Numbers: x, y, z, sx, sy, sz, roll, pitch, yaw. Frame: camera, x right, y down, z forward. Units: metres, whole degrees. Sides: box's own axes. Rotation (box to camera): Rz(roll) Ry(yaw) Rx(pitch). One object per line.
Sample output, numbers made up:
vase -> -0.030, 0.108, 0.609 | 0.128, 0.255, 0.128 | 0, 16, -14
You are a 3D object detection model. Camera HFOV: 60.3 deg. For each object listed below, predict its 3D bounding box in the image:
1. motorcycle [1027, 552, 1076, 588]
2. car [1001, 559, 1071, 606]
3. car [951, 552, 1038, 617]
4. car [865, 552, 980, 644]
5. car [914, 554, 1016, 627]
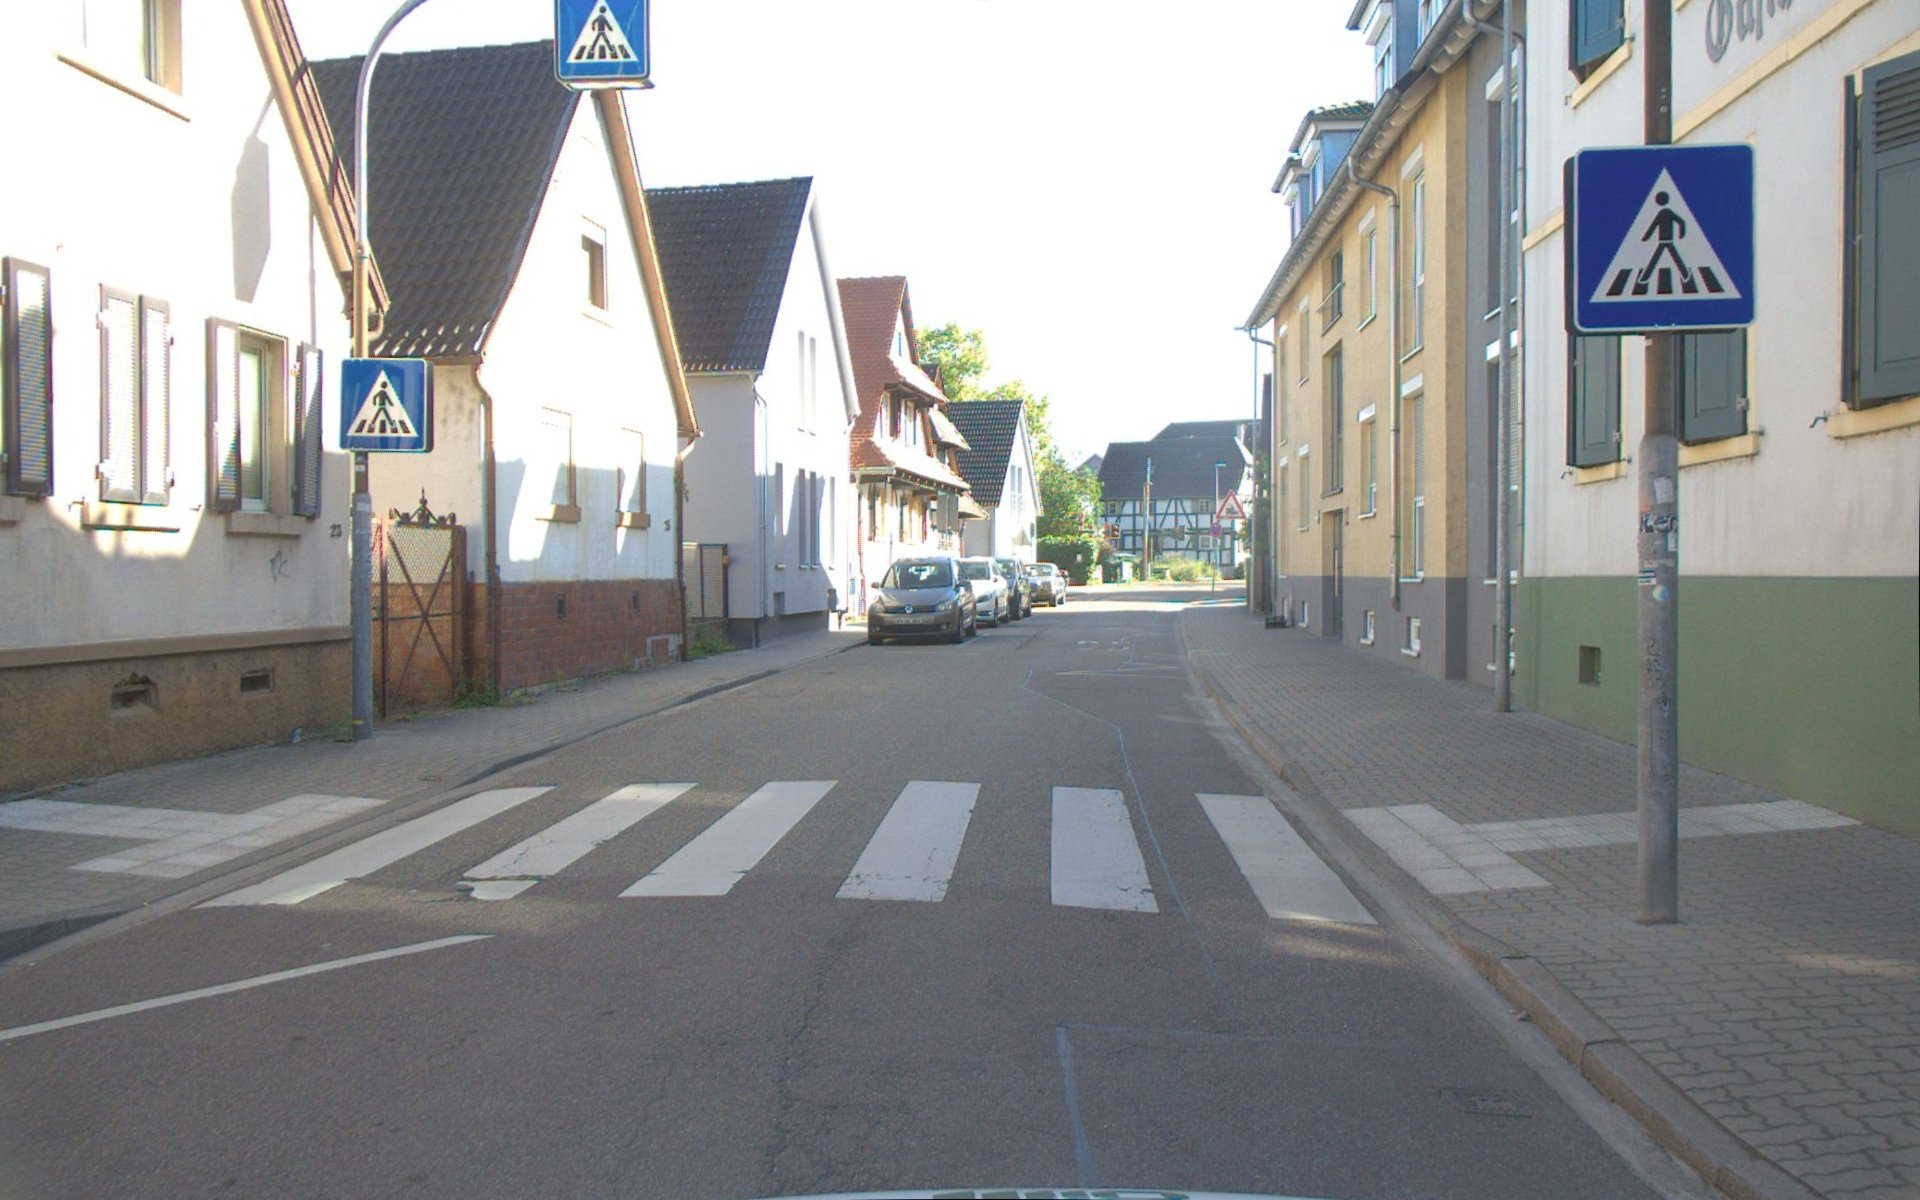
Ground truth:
motorcycle -> 3.258, -1.083, 58.923 | 0.620, 1.253, 1.968 | -2, 2, -37
car -> 2.586, -0.621, 55.354 | 1.805, 1.430, 5.041 | -2, 1, 8
car -> 0.970, -0.458, 43.947 | 1.745, 1.632, 4.365 | -1, 2, 8
car -> -0.658, -0.076, 31.730 | 1.705, 1.642, 4.003 | -1, 1, 6
car -> 0.177, -0.262, 38.583 | 1.777, 1.594, 4.172 | -1, 1, 8
